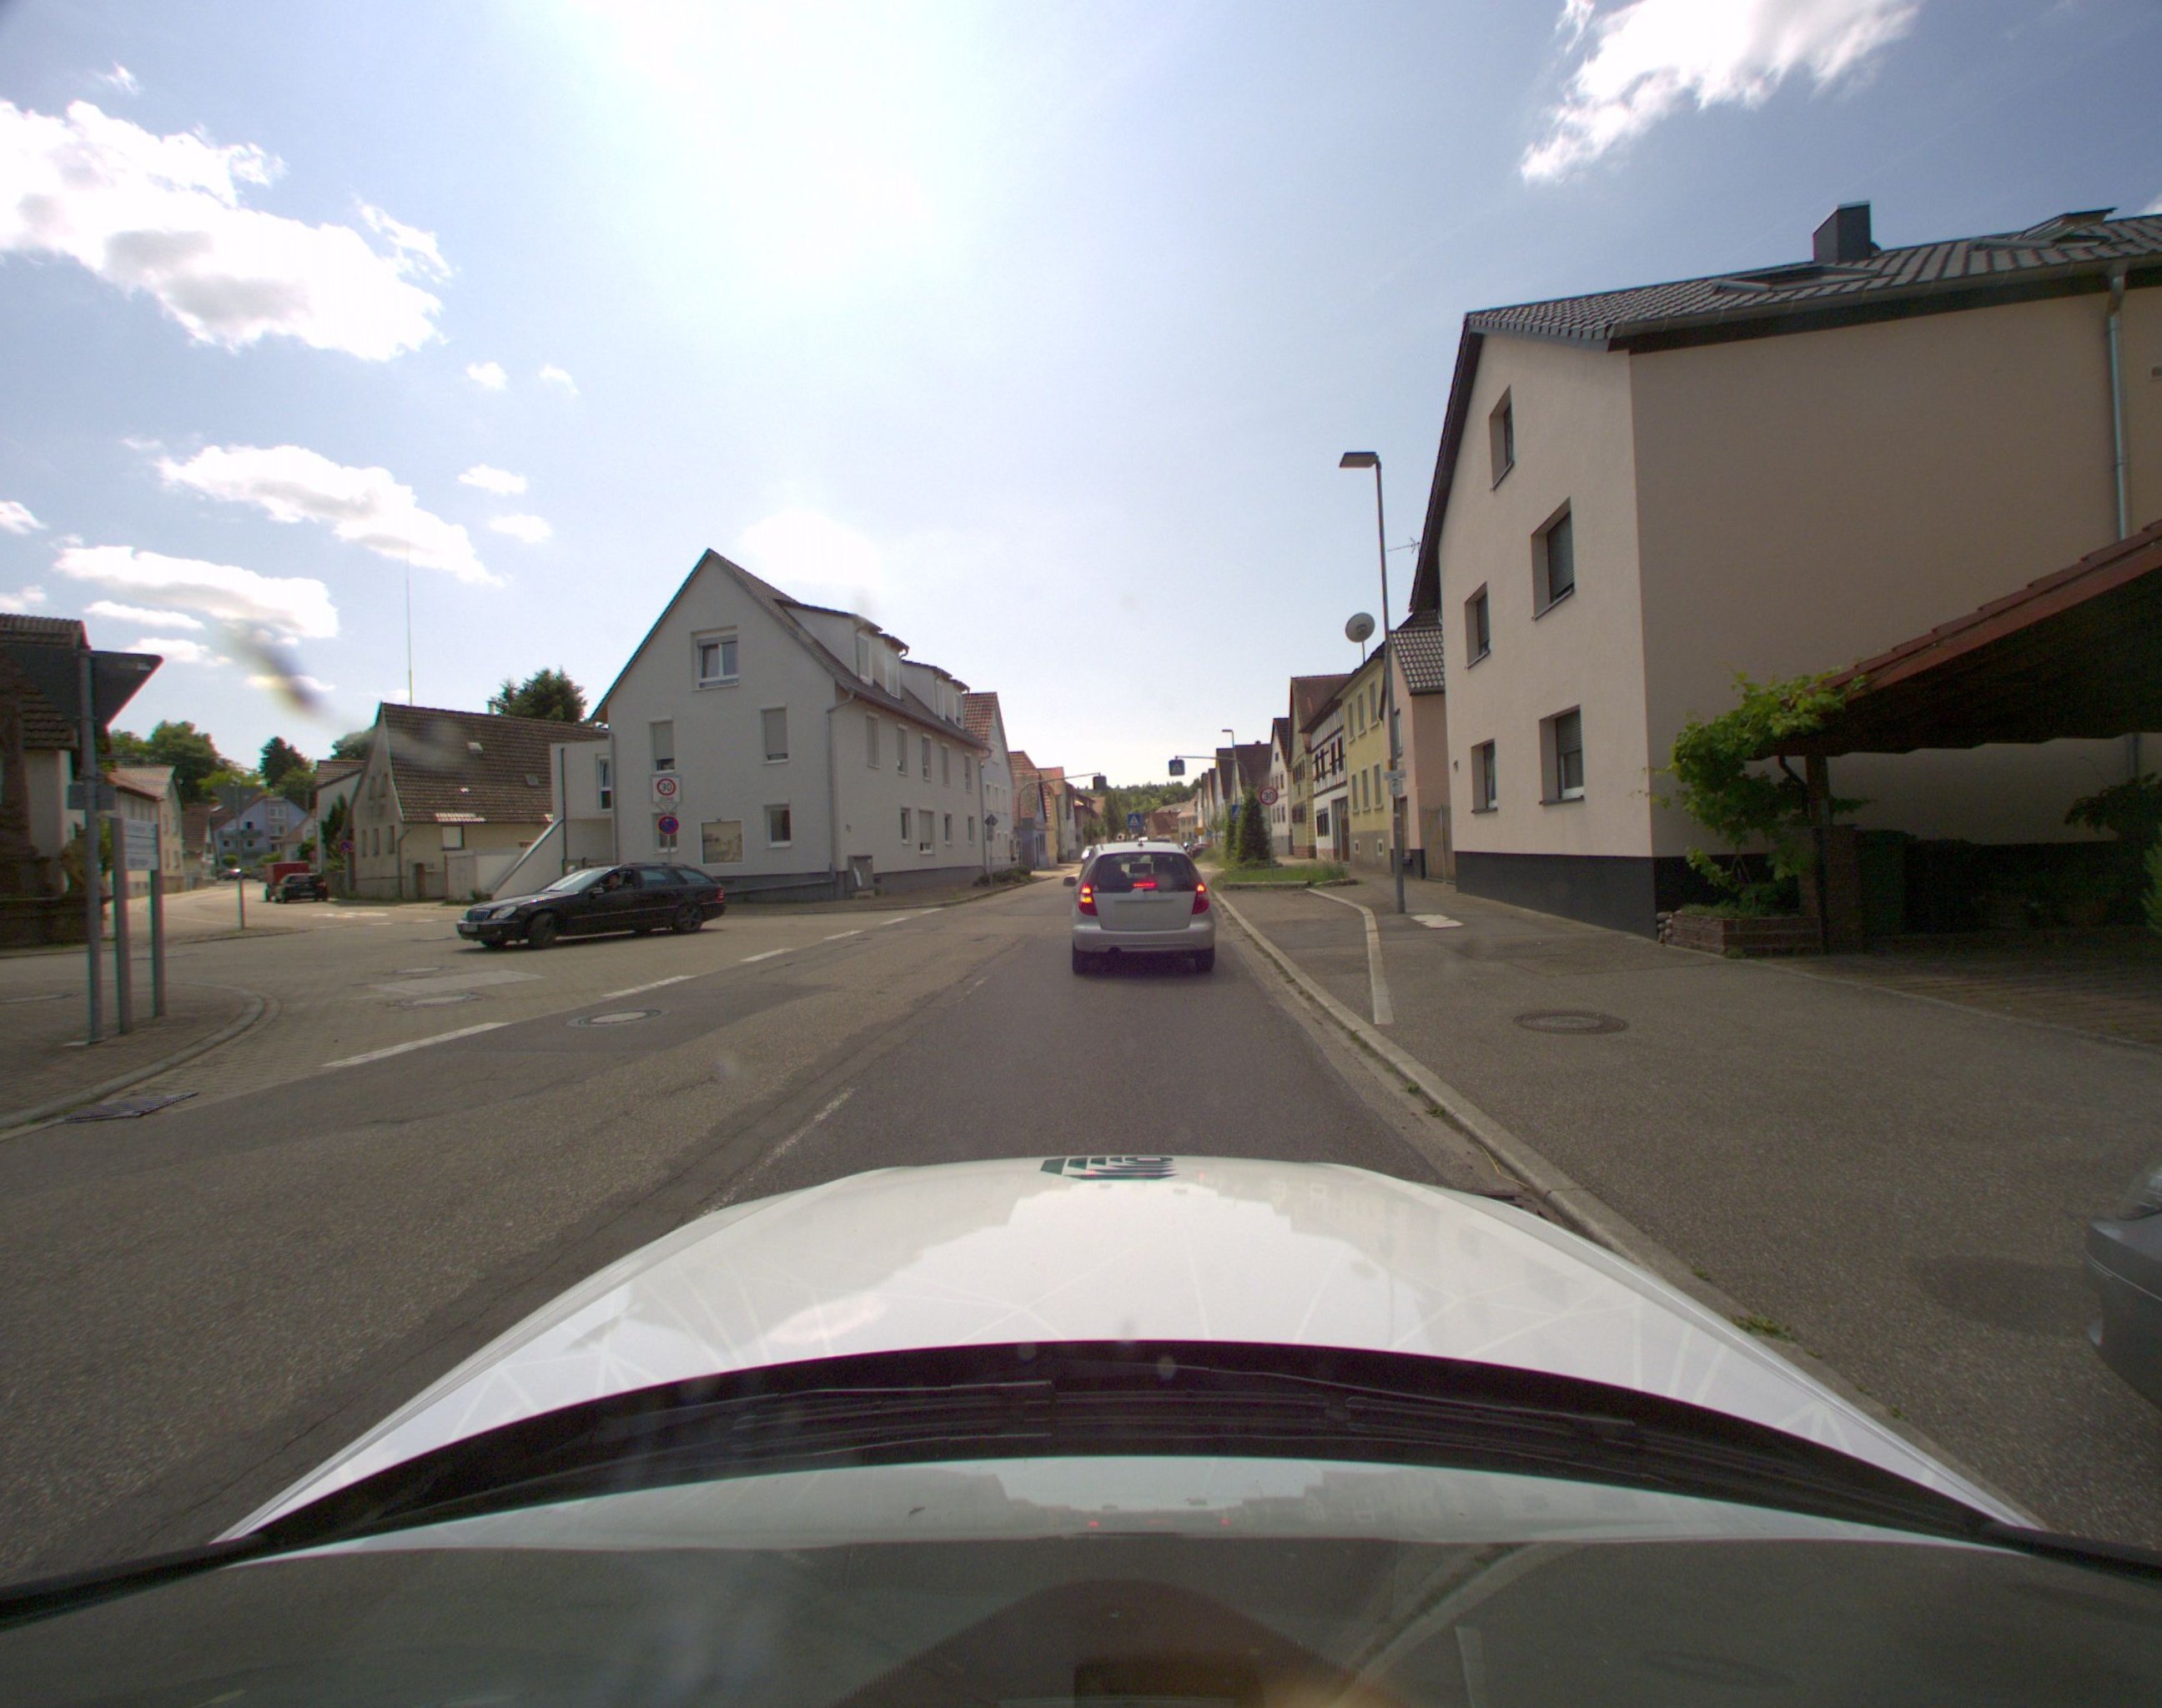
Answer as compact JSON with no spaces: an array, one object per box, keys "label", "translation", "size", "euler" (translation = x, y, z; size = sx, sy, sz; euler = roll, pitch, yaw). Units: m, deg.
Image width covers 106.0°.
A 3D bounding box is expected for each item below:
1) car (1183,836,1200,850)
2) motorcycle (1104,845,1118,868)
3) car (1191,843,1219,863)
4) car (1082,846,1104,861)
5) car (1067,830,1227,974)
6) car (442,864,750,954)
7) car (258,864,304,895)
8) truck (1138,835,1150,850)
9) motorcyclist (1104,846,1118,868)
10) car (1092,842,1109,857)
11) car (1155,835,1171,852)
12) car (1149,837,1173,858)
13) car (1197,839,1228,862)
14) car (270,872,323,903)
[{"label":"car","translation":[14.888,-1.464,110.018],"size":[1.984,1.816,4.004],"euler":[-2,-1,4]},{"label":"motorcycle","translation":[2.135,0.175,58.004],"size":[0.876,1.560,1.970],"euler":[-2,1,5]},{"label":"car","translation":[10.109,-0.077,66.636],"size":[1.984,1.508,4.005],"euler":[-2,-1,5]},{"label":"car","translation":[1.114,-0.035,78.050],"size":[1.987,1.321,3.708],"euler":[-1,-1,0]},{"label":"car","translation":[0.728,0.550,11.270],"size":[1.806,1.643,3.726],"euler":[0,0,-2]},{"label":"car","translation":[-8.928,0.926,15.416],"size":[1.790,1.412,4.666],"euler":[-3,-2,35]},{"label":"car","translation":[-44.176,1.410,44.970],"size":[3.431,1.635,1.406],"euler":[-3,-2,38]},{"label":"truck","translation":[11.938,-2.118,154.152],"size":[1.984,2.537,6.747],"euler":[-2,-1,4]},{"label":"motorcyclist","translation":[2.119,0.195,57.926],"size":[0.892,1.554,0.808],"euler":[-2,1,4]},{"label":"car","translation":[2.281,-0.514,96.204],"size":[1.659,1.596,4.005],"euler":[-2,-1,5]},{"label":"car","translation":[10.516,-1.320,104.730],"size":[1.984,2.014,4.005],"euler":[-2,-1,5]},{"label":"car","translation":[7.295,-0.564,74.585],"size":[1.984,1.816,4.004],"euler":[-2,-1,4]},{"label":"car","translation":[9.589,-0.223,59.662],"size":[1.984,1.508,4.005],"euler":[-2,-1,5]},{"label":"car","translation":[-39.935,1.709,41.456],"size":[3.431,1.530,1.500],"euler":[-3,-2,38]}]
